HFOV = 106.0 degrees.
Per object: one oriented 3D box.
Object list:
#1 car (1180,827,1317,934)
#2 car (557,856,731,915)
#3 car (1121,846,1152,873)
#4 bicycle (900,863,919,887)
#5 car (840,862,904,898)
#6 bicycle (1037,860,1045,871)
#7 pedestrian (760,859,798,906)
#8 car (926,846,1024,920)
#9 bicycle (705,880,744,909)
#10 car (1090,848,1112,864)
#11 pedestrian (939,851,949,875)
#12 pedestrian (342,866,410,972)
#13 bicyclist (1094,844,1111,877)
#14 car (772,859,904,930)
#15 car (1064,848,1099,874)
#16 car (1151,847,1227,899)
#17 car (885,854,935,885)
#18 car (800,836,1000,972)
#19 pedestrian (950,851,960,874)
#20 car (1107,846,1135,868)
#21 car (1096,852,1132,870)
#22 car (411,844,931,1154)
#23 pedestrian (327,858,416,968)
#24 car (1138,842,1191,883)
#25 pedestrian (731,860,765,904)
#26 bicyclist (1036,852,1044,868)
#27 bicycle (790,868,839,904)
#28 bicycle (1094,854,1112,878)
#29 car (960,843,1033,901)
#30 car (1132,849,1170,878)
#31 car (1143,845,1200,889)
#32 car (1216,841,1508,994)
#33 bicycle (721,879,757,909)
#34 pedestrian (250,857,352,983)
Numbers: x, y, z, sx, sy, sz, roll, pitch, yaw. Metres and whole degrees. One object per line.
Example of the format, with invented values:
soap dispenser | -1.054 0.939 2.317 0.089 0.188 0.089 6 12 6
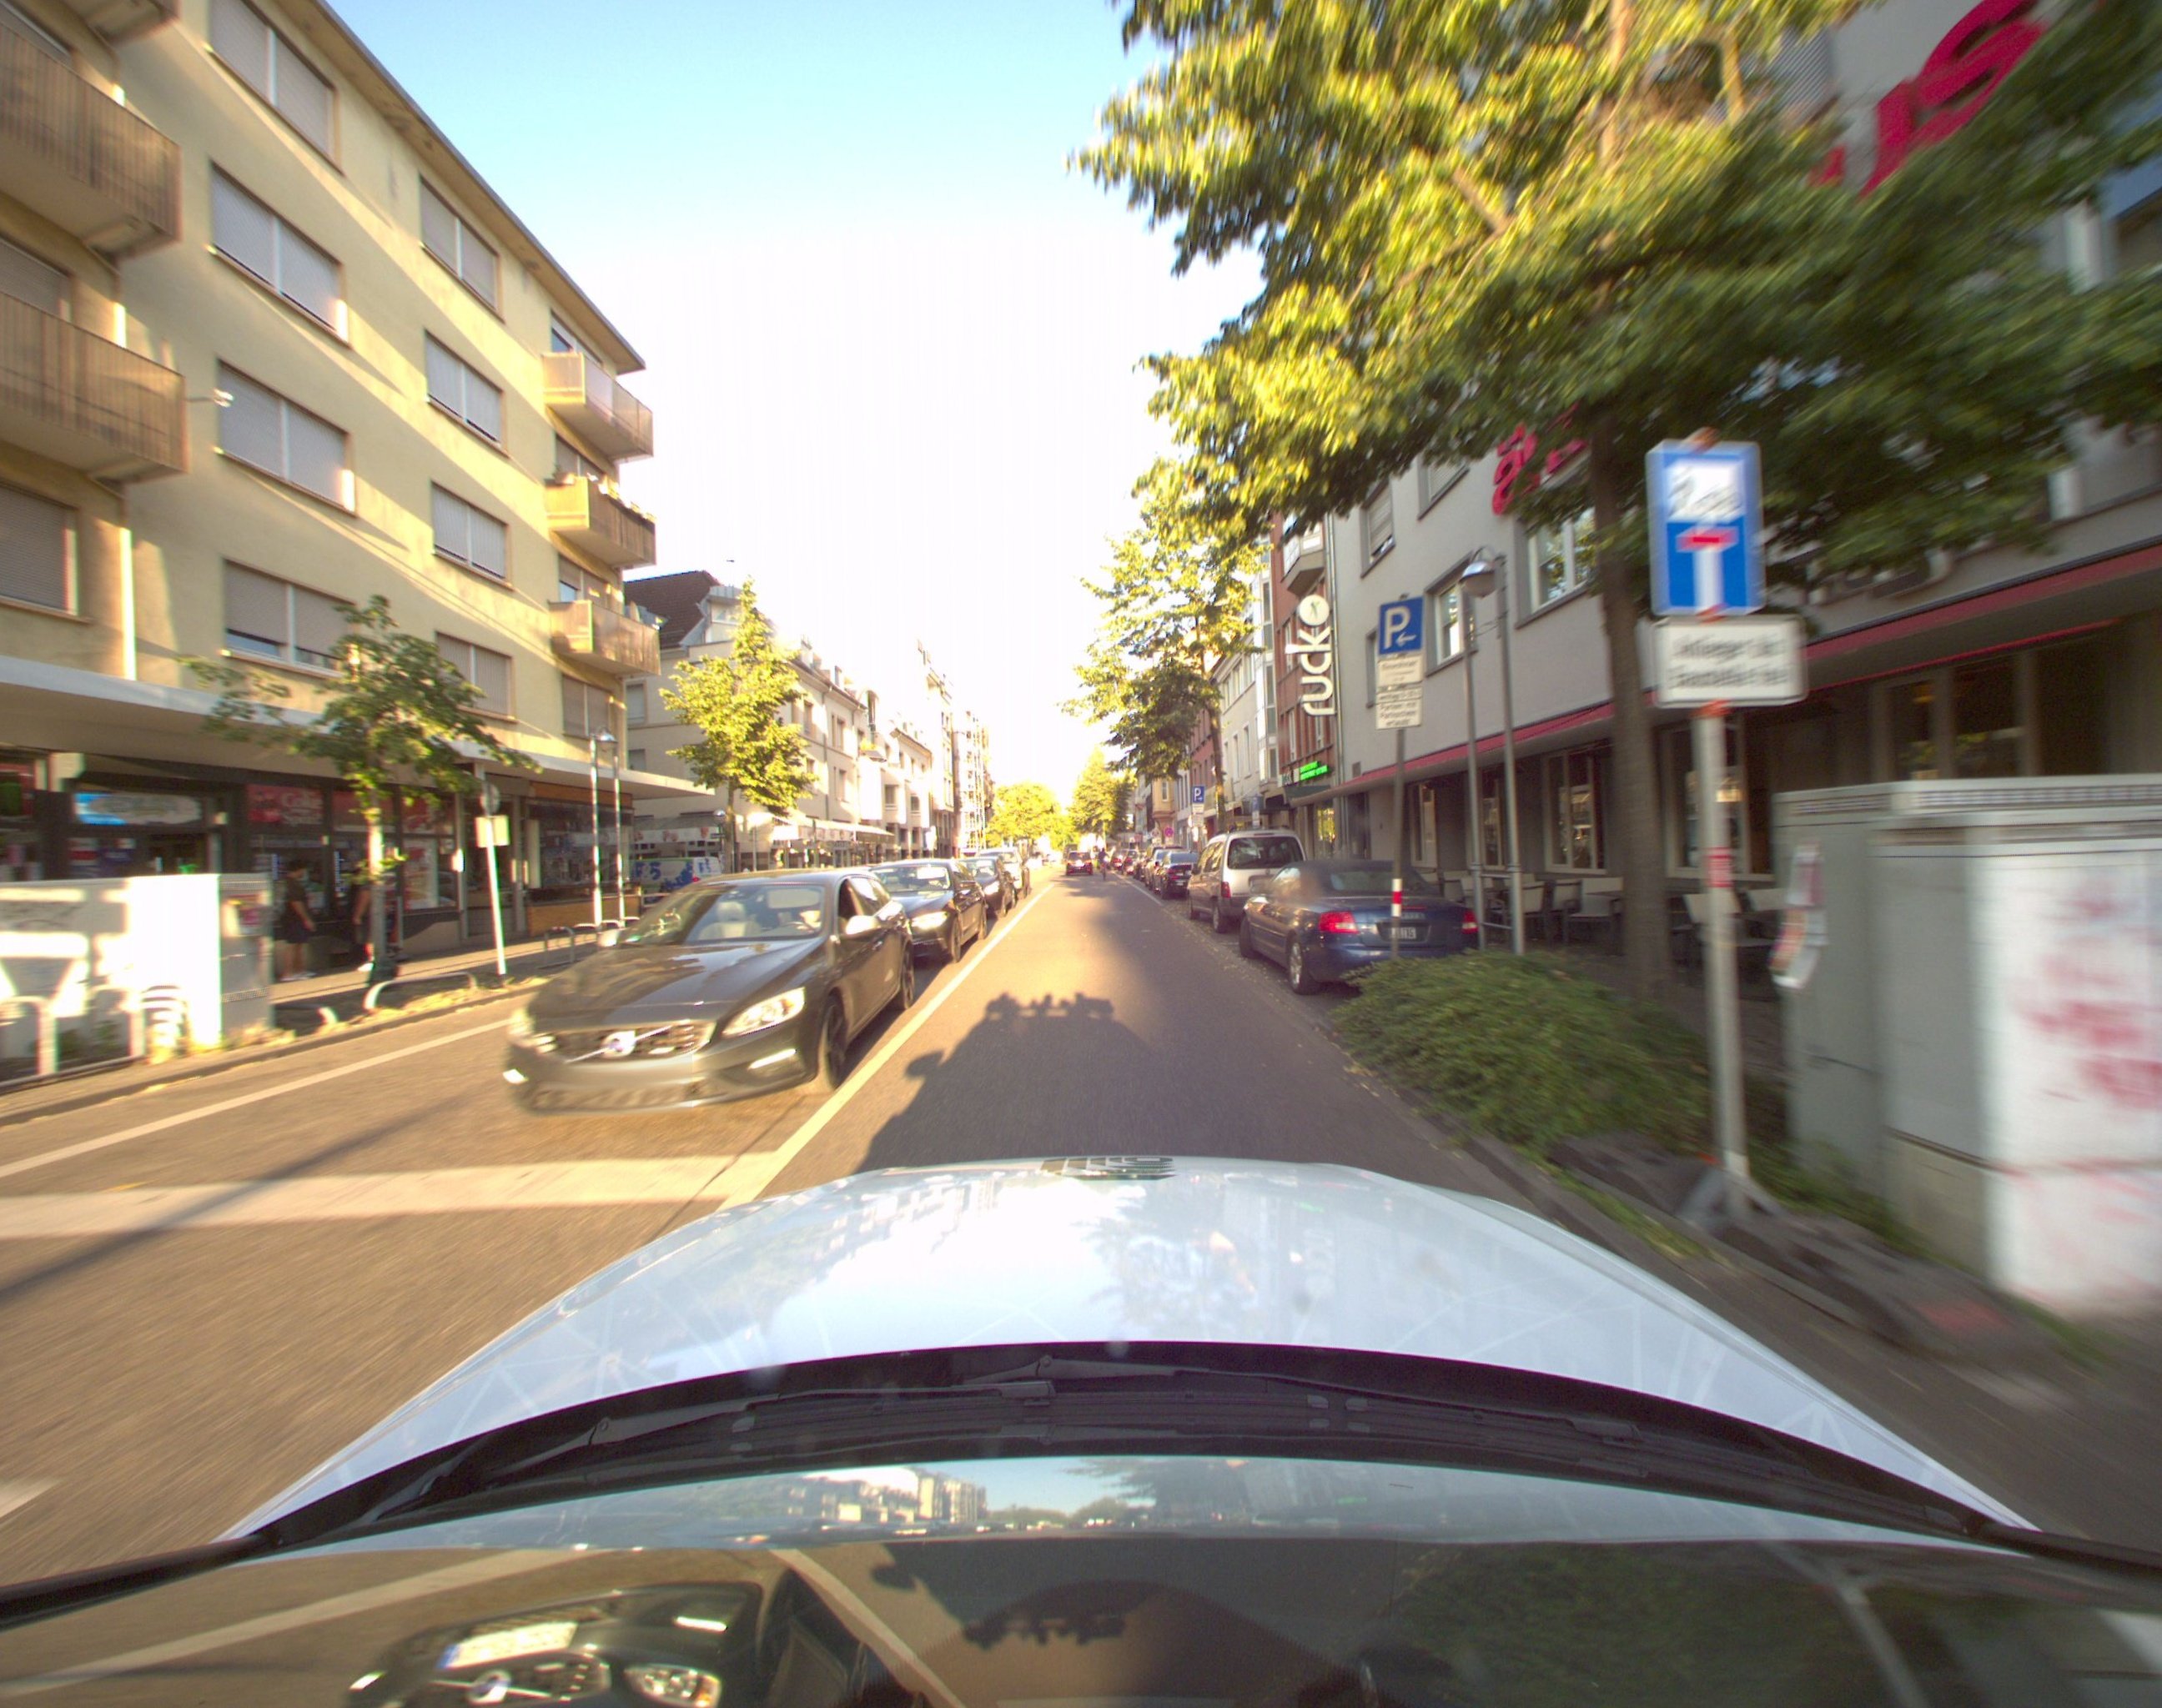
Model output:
car | 3.079 0.433 15.795 1.650 1.778 4.008 -1 0 -3
car | -14.810 1.047 27.776 4.843 1.828 2.002 -1 -1 3
car | 3.557 0.344 52.888 1.805 1.668 4.206 -1 -1 1
bicycle | -10.235 1.250 48.608 0.608 1.375 2.358 -1 -1 0
car | -8.682 1.057 34.165 1.655 1.402 3.883 -1 -1 0
bicycle | -4.549 1.269 91.777 0.779 1.204 2.019 -3 -1 -2
pedestrian | -11.252 1.063 30.396 0.899 1.676 0.995 -2 1 6
car | -2.500 0.662 20.280 1.718 1.549 4.465 -3 -1 1
bicycle | -13.045 1.469 29.843 0.488 0.992 2.016 -1 -1 2
car | 2.442 0.251 99.359 2.260 1.766 4.504 4 -1 -3
pedestrian | -10.438 0.691 61.917 0.716 1.767 0.692 -1 -1 -8
pedestrian | -11.828 1.061 13.656 0.760 1.676 0.747 -2 0 42
bicyclist | 1.136 0.364 43.166 0.779 1.696 1.006 -3 -1 -2
car | -6.261 0.973 21.562 1.987 1.511 4.509 -5 -1 0
car | 0.097 0.461 54.648 1.984 1.601 4.514 -1 -1 4
car | 3.255 0.525 25.366 1.747 1.420 4.508 -1 0 0
car | -8.612 0.767 41.286 1.705 1.454 3.725 -1 -1 0
car | -2.556 0.665 12.775 1.939 1.645 4.615 -3 -1 1
pedestrian | -9.612 0.672 62.011 0.716 1.740 0.736 -1 -1 -8
car | 3.196 0.242 66.182 1.820 1.695 4.364 -1 -1 -3
car | 2.915 0.599 72.032 2.963 1.536 1.431 -1 -1 -4
car | -2.579 0.738 6.590 1.953 1.547 4.506 -3 1 -2
pedestrian | -12.457 1.012 14.325 0.738 1.819 0.814 -3 0 2
car | 3.777 0.392 37.742 1.877 1.754 5.057 -1 -1 -1
pedestrian | -12.876 1.063 31.472 0.897 1.676 0.782 -1 -1 14
bicyclist | -4.588 0.683 91.743 0.779 1.829 1.006 -3 -1 -2
bicycle | -10.313 1.207 31.653 0.956 1.300 3.125 -1 -1 -2
bicycle | 1.157 0.628 43.233 0.779 1.204 2.019 -3 -1 -2
car | -2.696 0.582 27.024 1.935 1.645 4.736 -3 -1 -1
car | 3.760 0.515 44.385 1.756 1.483 4.307 -1 -1 1
car | 3.382 0.478 31.353 1.805 1.527 4.996 -1 -1 2
car | 2.941 0.582 9.601 1.931 1.376 4.180 -1 0 -1
bicycle | -12.496 1.444 29.788 0.488 0.992 2.014 -1 -1 -1
pedestrian | -12.039 0.999 12.593 0.763 1.847 0.745 -2 1 10
